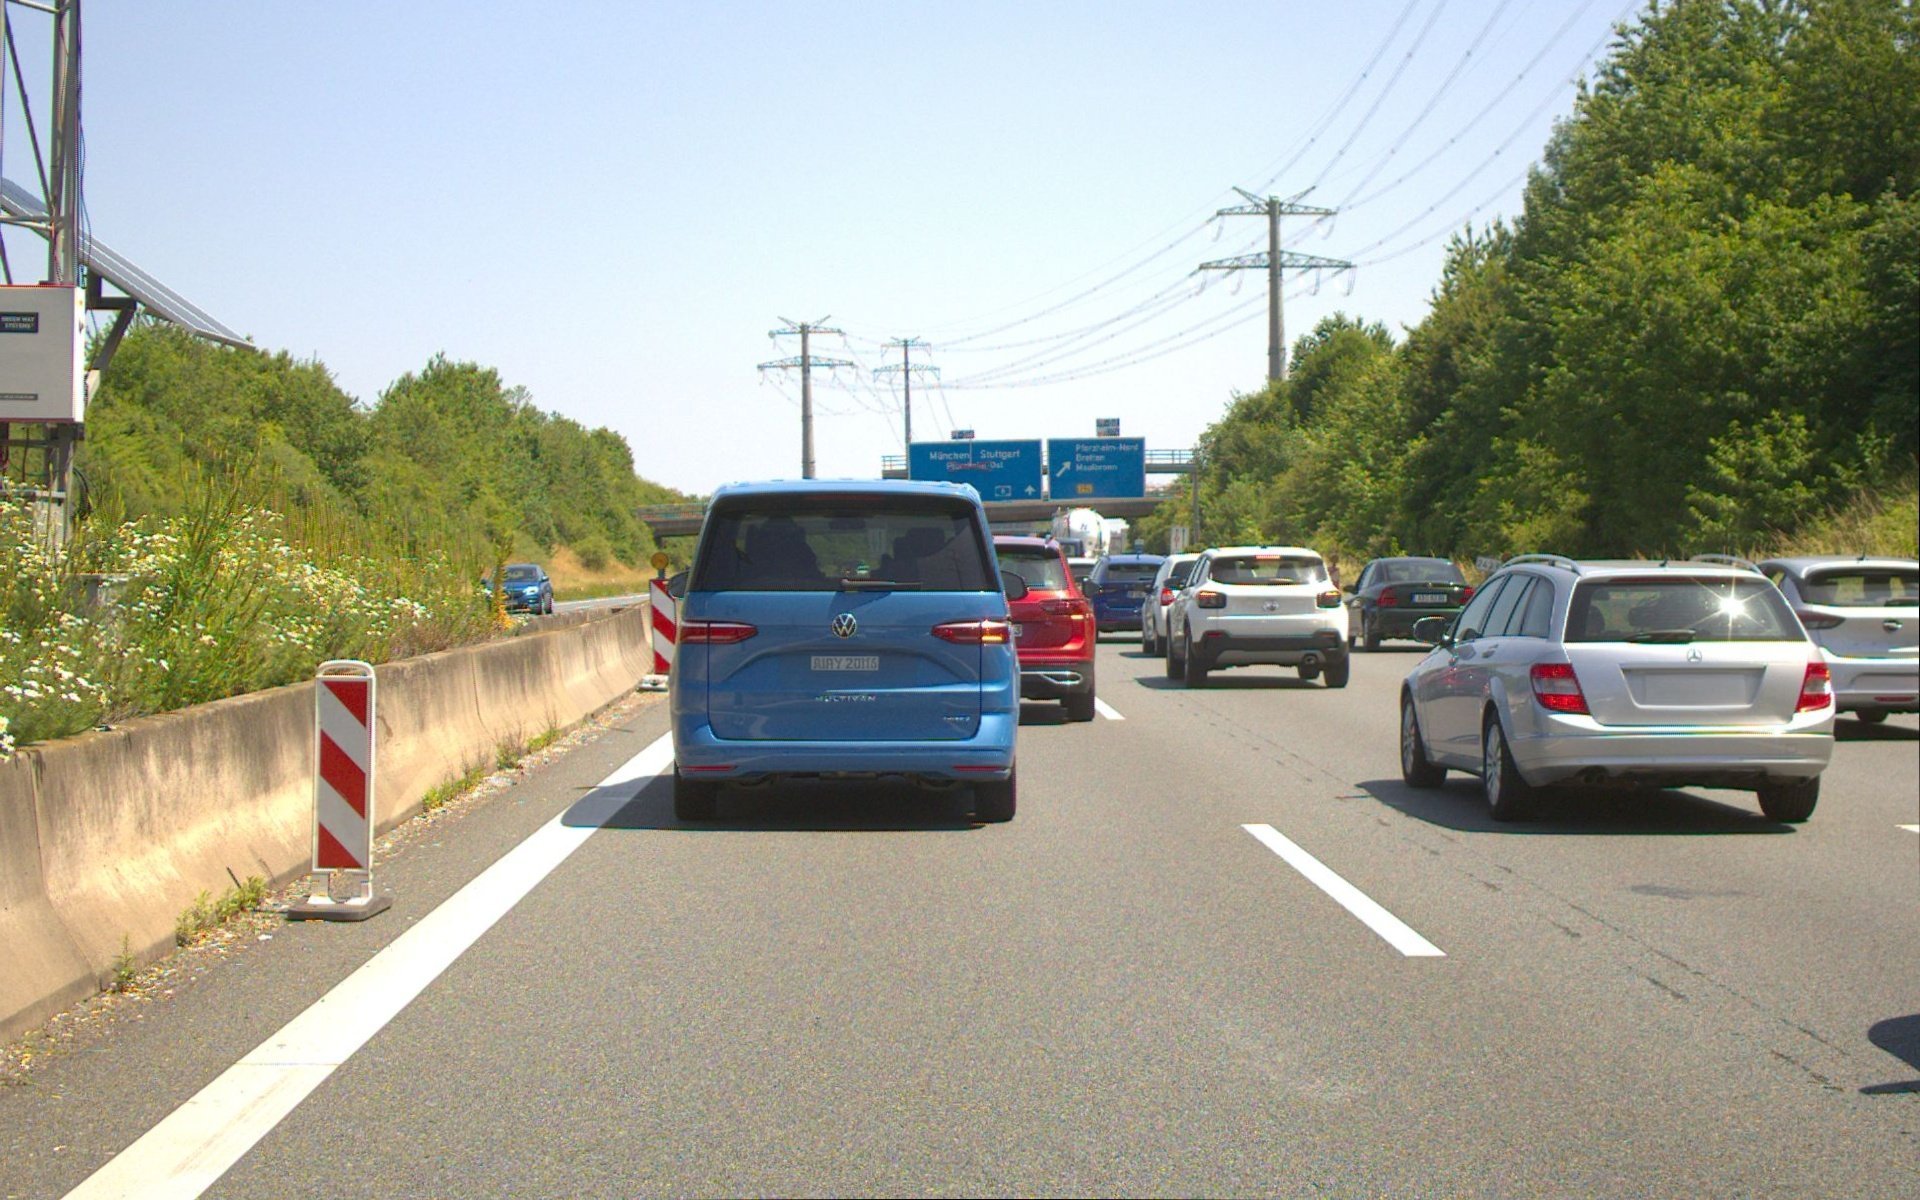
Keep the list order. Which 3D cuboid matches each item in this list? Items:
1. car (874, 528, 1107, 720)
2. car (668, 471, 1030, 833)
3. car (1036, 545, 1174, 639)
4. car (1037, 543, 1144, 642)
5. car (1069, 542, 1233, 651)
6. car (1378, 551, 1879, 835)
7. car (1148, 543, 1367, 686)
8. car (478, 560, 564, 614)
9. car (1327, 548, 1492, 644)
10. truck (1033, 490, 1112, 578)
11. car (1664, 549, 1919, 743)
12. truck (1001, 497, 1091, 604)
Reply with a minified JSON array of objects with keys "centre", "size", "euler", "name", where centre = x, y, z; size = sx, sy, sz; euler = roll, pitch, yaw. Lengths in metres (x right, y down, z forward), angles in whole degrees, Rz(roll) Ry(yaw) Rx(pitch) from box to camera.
[{"centre":[0.204,0.173,31.350],"size":[1.908,1.625,4.384],"euler":[0,1,-2],"name":"car"},{"centre":[-0.756,0.241,20.186],"size":[1.870,1.872,4.384],"euler":[1,1,-5],"name":"car"},{"centre":[2.410,-0.168,58.239],"size":[1.908,1.511,4.384],"euler":[1,1,-3],"name":"car"},{"centre":[2.734,-0.193,72.764],"size":[1.993,2.007,4.000],"euler":[1,1,-1],"name":"car"},{"centre":[2.751,-0.082,50.397],"size":[1.908,1.511,4.384],"euler":[1,1,-3],"name":"car"},{"centre":[3.714,0.448,19.911],"size":[1.821,1.432,4.384],"euler":[1,1,-3],"name":"car"},{"centre":[3.283,0.121,38.661],"size":[1.908,1.503,3.922],"euler":[1,1,-3],"name":"car"},{"centre":[-13.202,-0.406,103.610],"size":[1.993,1.540,4.912],"euler":[-1,1,-1],"name":"car"},{"centre":[6.810,-0.092,52.489],"size":[1.734,1.373,4.303],"euler":[1,1,-3],"name":"car"},{"centre":[5.446,-3.217,169.354],"size":[2.644,4.058,16.443],"euler":[1,1,-2],"name":"truck"},{"centre":[7.163,0.330,28.459],"size":[1.741,1.465,4.014],"euler":[0,1,-1],"name":"car"},{"centre":[2.249,-1.322,90.991],"size":[1.993,2.714,5.681],"euler":[1,1,-2],"name":"truck"}]
